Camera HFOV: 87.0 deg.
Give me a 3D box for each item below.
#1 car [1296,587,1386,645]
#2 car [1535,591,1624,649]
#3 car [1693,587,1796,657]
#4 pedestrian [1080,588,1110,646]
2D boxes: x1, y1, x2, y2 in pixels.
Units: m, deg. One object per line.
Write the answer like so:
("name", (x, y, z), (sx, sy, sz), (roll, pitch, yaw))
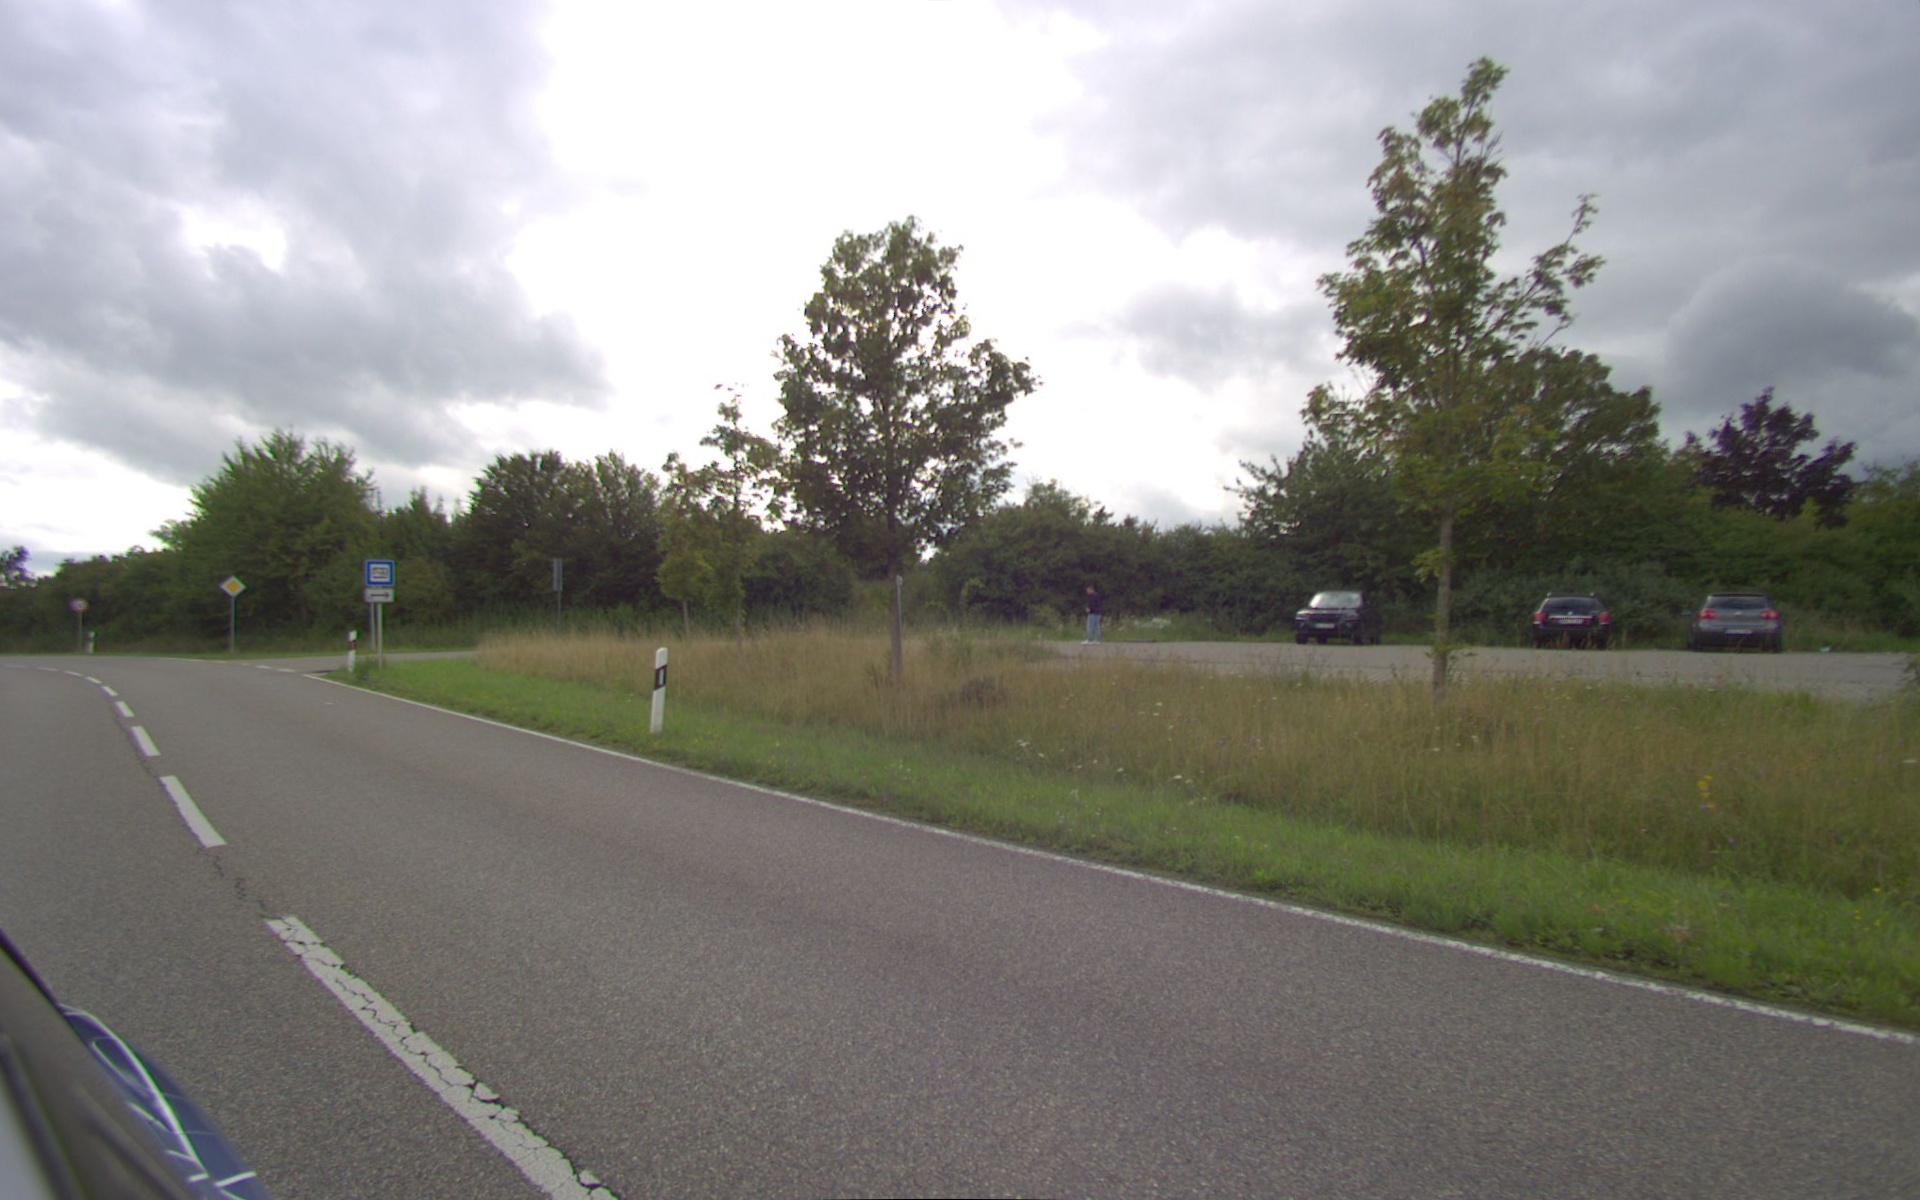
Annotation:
("car", (11.279, 0.439, 29.809), (1.751, 1.578, 4.210), (-2, 0, 31))
("car", (16.391, 0.501, 26.711), (1.819, 1.390, 3.954), (-2, 0, 34))
("car", (19.354, 0.491, 25.098), (1.754, 1.578, 4.204), (-2, 0, 35))
("pedestrian", (3.976, 0.502, 29.767), (0.660, 1.679, 0.510), (-2, 0, 37))
